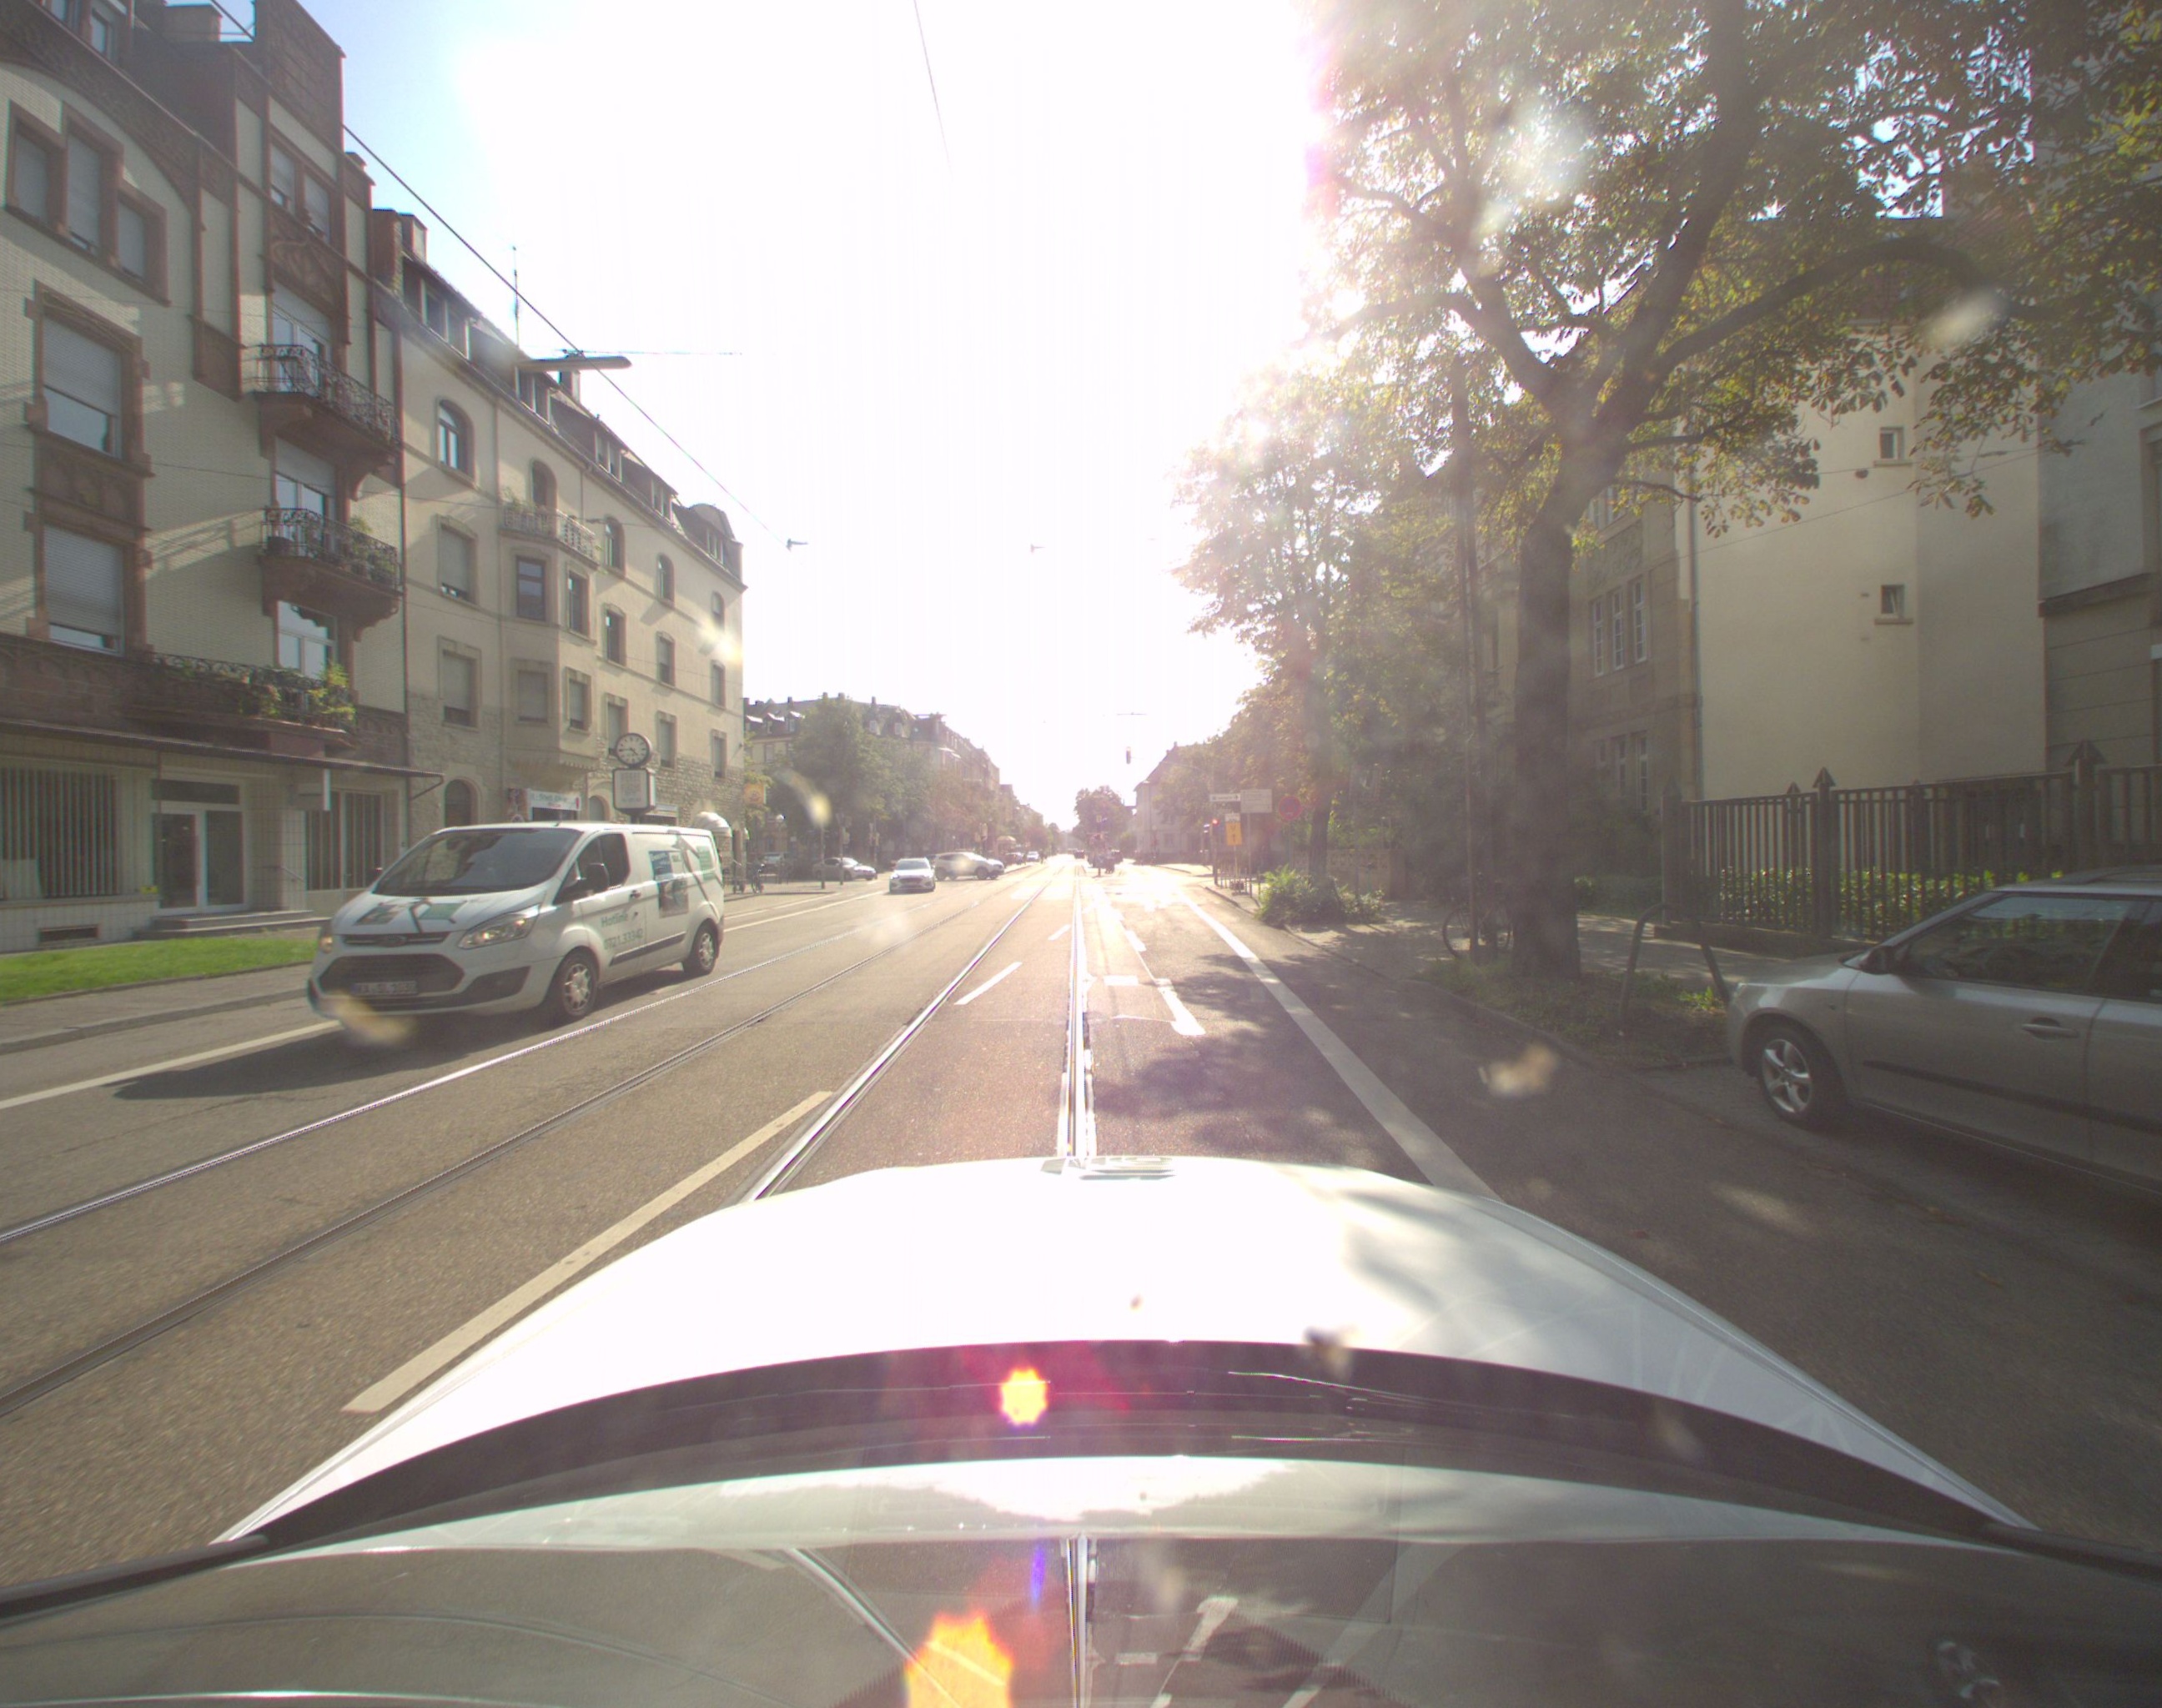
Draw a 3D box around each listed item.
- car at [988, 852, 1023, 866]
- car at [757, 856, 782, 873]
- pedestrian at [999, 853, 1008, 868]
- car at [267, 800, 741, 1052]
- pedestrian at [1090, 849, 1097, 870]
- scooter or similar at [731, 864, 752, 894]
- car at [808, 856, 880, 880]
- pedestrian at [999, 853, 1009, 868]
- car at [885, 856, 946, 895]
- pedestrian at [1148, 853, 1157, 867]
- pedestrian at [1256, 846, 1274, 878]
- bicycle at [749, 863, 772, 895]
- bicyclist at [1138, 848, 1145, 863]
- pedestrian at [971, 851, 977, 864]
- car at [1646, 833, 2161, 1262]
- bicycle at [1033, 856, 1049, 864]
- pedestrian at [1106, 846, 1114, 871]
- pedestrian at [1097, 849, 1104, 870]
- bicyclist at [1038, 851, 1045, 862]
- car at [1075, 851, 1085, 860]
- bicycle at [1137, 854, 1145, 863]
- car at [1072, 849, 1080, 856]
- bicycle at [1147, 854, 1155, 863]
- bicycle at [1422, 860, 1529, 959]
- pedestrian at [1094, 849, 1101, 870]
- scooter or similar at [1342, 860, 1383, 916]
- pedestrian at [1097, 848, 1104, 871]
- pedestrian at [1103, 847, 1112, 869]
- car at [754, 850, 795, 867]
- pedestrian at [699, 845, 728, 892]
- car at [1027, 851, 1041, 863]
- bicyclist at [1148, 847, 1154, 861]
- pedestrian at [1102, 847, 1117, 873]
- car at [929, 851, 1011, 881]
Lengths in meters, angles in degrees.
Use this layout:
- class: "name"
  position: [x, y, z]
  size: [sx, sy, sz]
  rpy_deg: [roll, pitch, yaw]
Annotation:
- class: "car"
  position: [-9.089, 0.565, 97.450]
  size: [3.966, 1.552, 1.993]
  rpy_deg: [-1, 0, -11]
- class: "car"
  position: [-28.067, 0.931, 73.519]
  size: [1.869, 1.466, 4.757]
  rpy_deg: [-1, 0, -18]
- class: "pedestrian"
  position: [-6.867, 0.589, 72.177]
  size: [0.826, 1.359, 0.775]
  rpy_deg: [-1, 0, -4]
- class: "car"
  position: [-5.730, 0.570, 9.107]
  size: [1.989, 2.013, 4.854]
  rpy_deg: [-1, 0, -3]
- class: "pedestrian"
  position: [1.076, 0.450, 70.766]
  size: [0.530, 1.759, 0.545]
  rpy_deg: [1, 2, 1]
- class: "scooter or similar"
  position: [-13.883, 1.025, 33.299]
  size: [1.021, 1.197, 0.369]
  rpy_deg: [-1, 0, 44]
- class: "car"
  position: [-15.072, 0.879, 51.661]
  size: [4.724, 1.466, 1.882]
  rpy_deg: [-1, 0, 36]
- class: "pedestrian"
  position: [-6.885, 0.590, 73.154]
  size: [0.826, 1.359, 0.775]
  rpy_deg: [-1, 0, -4]
- class: "car"
  position: [-7.129, 0.878, 35.540]
  size: [1.868, 1.454, 4.540]
  rpy_deg: [-4, 0, -3]
- class: "pedestrian"
  position: [9.268, 0.733, 105.210]
  size: [0.883, 1.740, 0.780]
  rpy_deg: [-1, 0, 21]
- class: "pedestrian"
  position: [10.156, 0.418, 44.926]
  size: [0.749, 1.731, 0.769]
  rpy_deg: [-1, 0, -9]
- class: "bicycle"
  position: [-13.307, 1.020, 33.840]
  size: [0.453, 1.226, 1.851]
  rpy_deg: [-1, 0, -9]
- class: "bicyclist"
  position: [6.431, 0.149, 86.930]
  size: [0.627, 1.507, 0.678]
  rpy_deg: [-1, 0, -2]
- class: "pedestrian"
  position: [-14.386, 0.463, 109.470]
  size: [0.527, 1.759, 0.548]
  rpy_deg: [2, 2, 26]
- class: "car"
  position: [4.805, 0.714, 3.527]
  size: [1.602, 1.524, 4.356]
  rpy_deg: [-4, 0, 0]
- class: "bicycle"
  position: [-4.882, 0.686, 99.359]
  size: [1.845, 0.958, 0.548]
  rpy_deg: [-1, 0, -2]
- class: "pedestrian"
  position: [2.143, 0.321, 59.829]
  size: [0.502, 1.833, 0.534]
  rpy_deg: [1, 2, 0]
- class: "pedestrian"
  position: [1.626, 0.449, 69.348]
  size: [0.541, 1.759, 0.534]
  rpy_deg: [1, 2, 0]
- class: "bicyclist"
  position: [-4.800, 0.331, 99.356]
  size: [0.816, 1.328, 0.548]
  rpy_deg: [-1, 0, -2]
- class: "car"
  position: [-0.220, 0.245, 162.741]
  size: [1.795, 1.653, 3.643]
  rpy_deg: [-1, 0, 1]
- class: "bicycle"
  position: [6.431, 0.460, 86.932]
  size: [0.627, 0.978, 1.769]
  rpy_deg: [-1, 0, -1]
- class: "car"
  position: [-1.155, -0.420, 200.149]
  size: [1.795, 1.653, 3.643]
  rpy_deg: [-1, 0, 1]
- class: "bicycle"
  position: [7.418, 0.477, 86.473]
  size: [0.556, 0.978, 1.855]
  rpy_deg: [-1, 0, -1]
- class: "bicycle"
  position: [5.460, 0.740, 11.225]
  size: [1.852, 1.166, 0.499]
  rpy_deg: [-4, -4, -41]
- class: "pedestrian"
  position: [1.410, 0.456, 68.539]
  size: [0.541, 1.759, 0.534]
  rpy_deg: [1, 2, 0]
- class: "scooter or similar"
  position: [6.358, 0.756, 18.430]
  size: [0.555, 1.197, 1.036]
  rpy_deg: [-4, -1, 5]
- class: "pedestrian"
  position: [1.523, 0.447, 64.531]
  size: [0.502, 1.759, 0.534]
  rpy_deg: [1, 2, 0]
- class: "pedestrian"
  position: [2.272, 0.327, 68.729]
  size: [0.706, 1.759, 0.534]
  rpy_deg: [1, 2, 0]
- class: "car"
  position: [-34.727, 0.506, 92.375]
  size: [3.952, 1.828, 2.011]
  rpy_deg: [-1, 0, 21]
- class: "pedestrian"
  position: [-14.884, 0.586, 32.980]
  size: [0.772, 1.859, 0.830]
  rpy_deg: [-1, 0, -2]
- class: "car"
  position: [-6.954, 0.438, 121.056]
  size: [1.795, 1.653, 3.643]
  rpy_deg: [-1, 0, 1]
- class: "bicyclist"
  position: [7.402, 0.019, 86.487]
  size: [0.556, 1.416, 0.871]
  rpy_deg: [-1, 0, -1]
- class: "pedestrian"
  position: [1.950, 0.373, 55.563]
  size: [0.693, 1.724, 0.753]
  rpy_deg: [3, 3, 33]
- class: "car"
  position: [-6.514, 0.690, 47.918]
  size: [4.285, 1.630, 2.009]
  rpy_deg: [-1, 0, 16]
